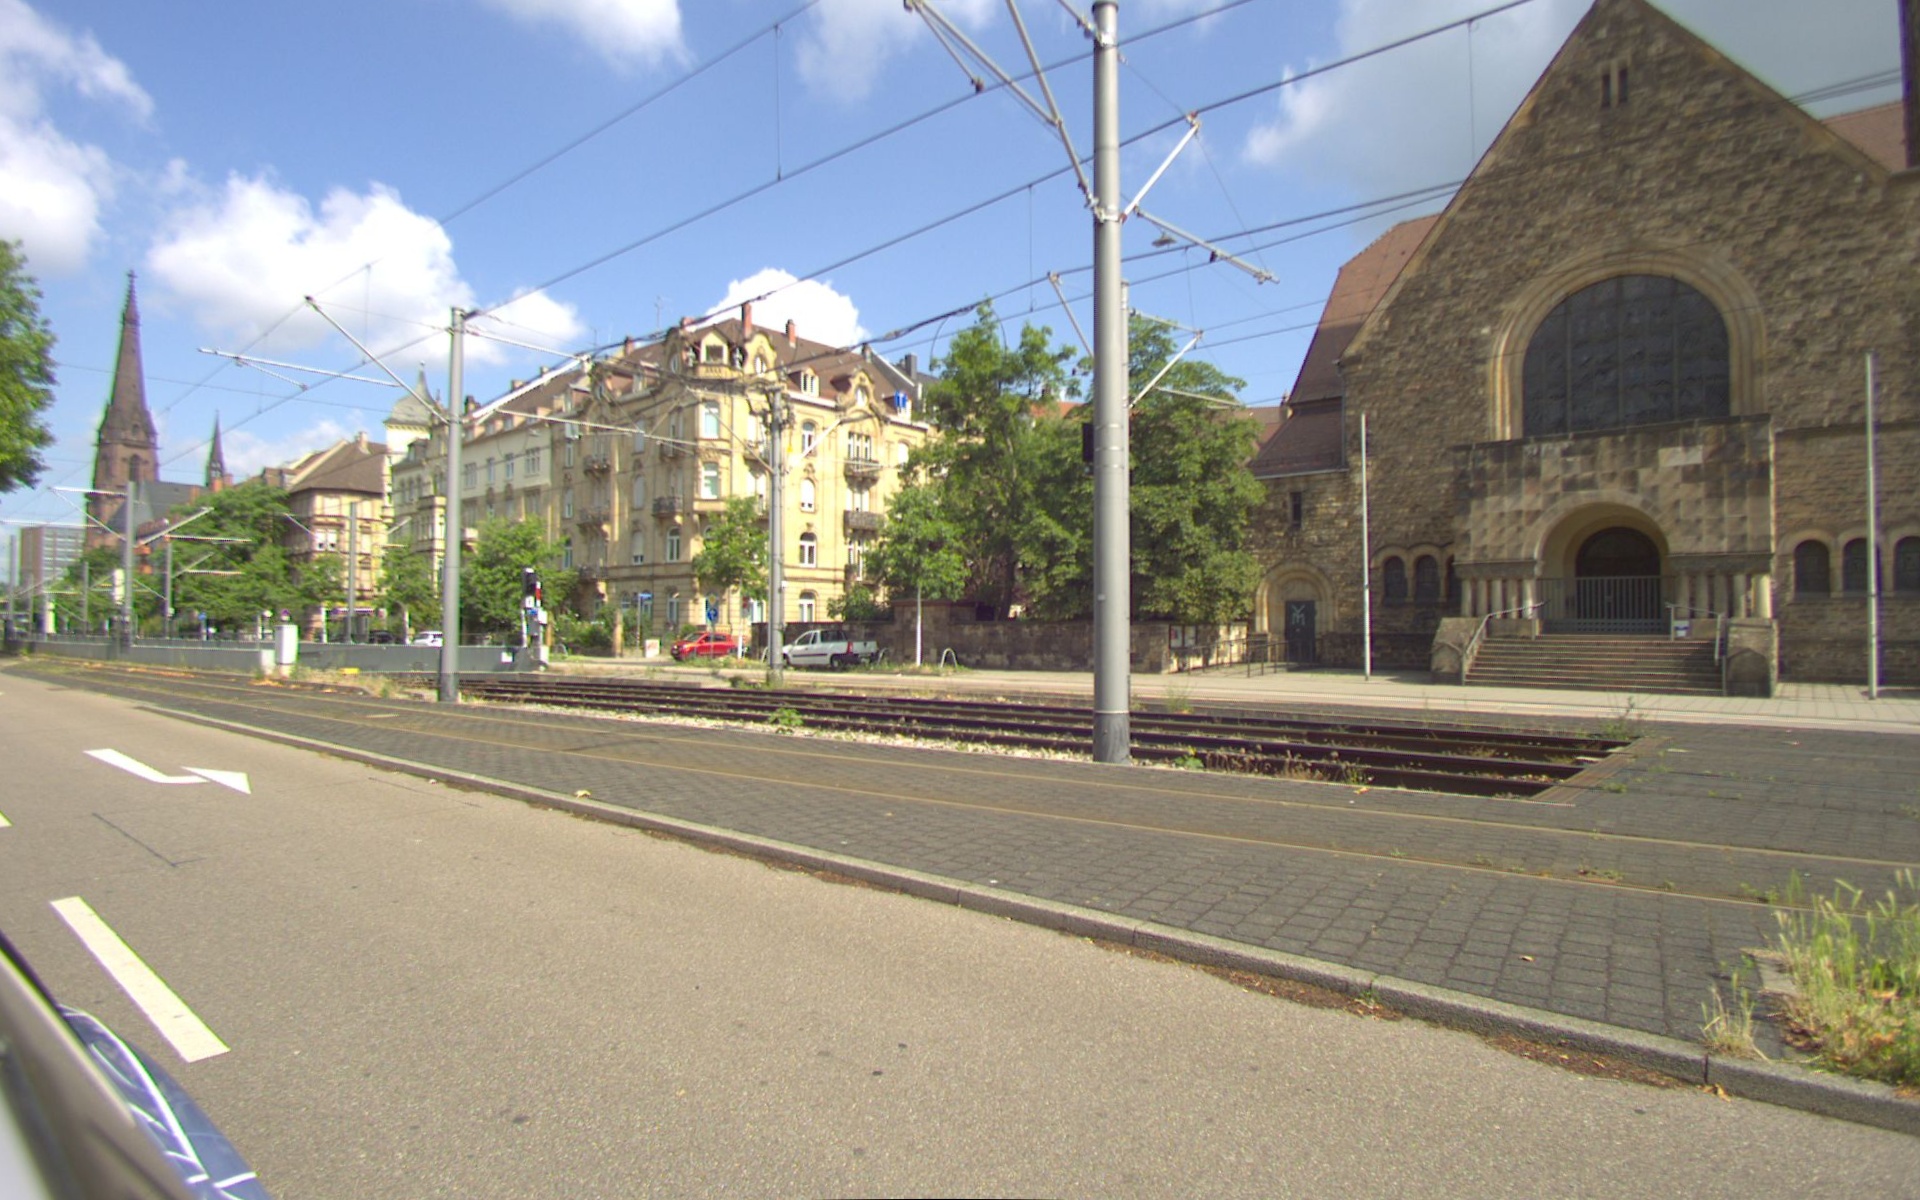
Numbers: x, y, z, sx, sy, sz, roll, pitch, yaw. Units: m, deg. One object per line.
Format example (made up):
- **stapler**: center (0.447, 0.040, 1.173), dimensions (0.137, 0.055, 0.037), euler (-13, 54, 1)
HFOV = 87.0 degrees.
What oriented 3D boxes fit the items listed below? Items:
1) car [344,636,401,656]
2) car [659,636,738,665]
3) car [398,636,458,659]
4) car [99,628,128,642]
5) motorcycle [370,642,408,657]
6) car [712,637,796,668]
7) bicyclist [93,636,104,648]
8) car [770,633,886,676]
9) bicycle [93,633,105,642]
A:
- **car**: center (-39.581, 3.099, 68.164), dimensions (4.096, 1.337, 2.000), euler (-2, -3, 39)
- **car**: center (-14.230, 2.731, 55.232), dimensions (1.933, 1.475, 3.738), euler (-2, -3, 44)
- **car**: center (-32.810, 2.901, 62.402), dimensions (4.308, 1.338, 1.734), euler (-2, -3, 39)
- **car**: center (-101.198, 4.238, 121.033), dimensions (4.111, 1.650, 1.973), euler (-2, -3, 41)
- **motorcycle**: center (-37.403, 3.245, 66.320), dimensions (1.416, 0.949, 1.743), euler (-2, -5, 39)
- **car**: center (-10.322, 2.640, 50.993), dimensions (1.723, 1.475, 3.921), euler (-2, -3, 41)
- **bicyclist**: center (-98.836, 4.858, 116.161), dimensions (1.048, 1.348, 0.759), euler (-2, -5, 41)
- **car**: center (-5.057, 2.029, 38.437), dimensions (4.409, 1.516, 1.911), euler (-2, -3, 39)
- **bicycle**: center (-98.993, 4.353, 116.346), dimensions (2.140, 0.986, 0.767), euler (-2, -5, 42)
